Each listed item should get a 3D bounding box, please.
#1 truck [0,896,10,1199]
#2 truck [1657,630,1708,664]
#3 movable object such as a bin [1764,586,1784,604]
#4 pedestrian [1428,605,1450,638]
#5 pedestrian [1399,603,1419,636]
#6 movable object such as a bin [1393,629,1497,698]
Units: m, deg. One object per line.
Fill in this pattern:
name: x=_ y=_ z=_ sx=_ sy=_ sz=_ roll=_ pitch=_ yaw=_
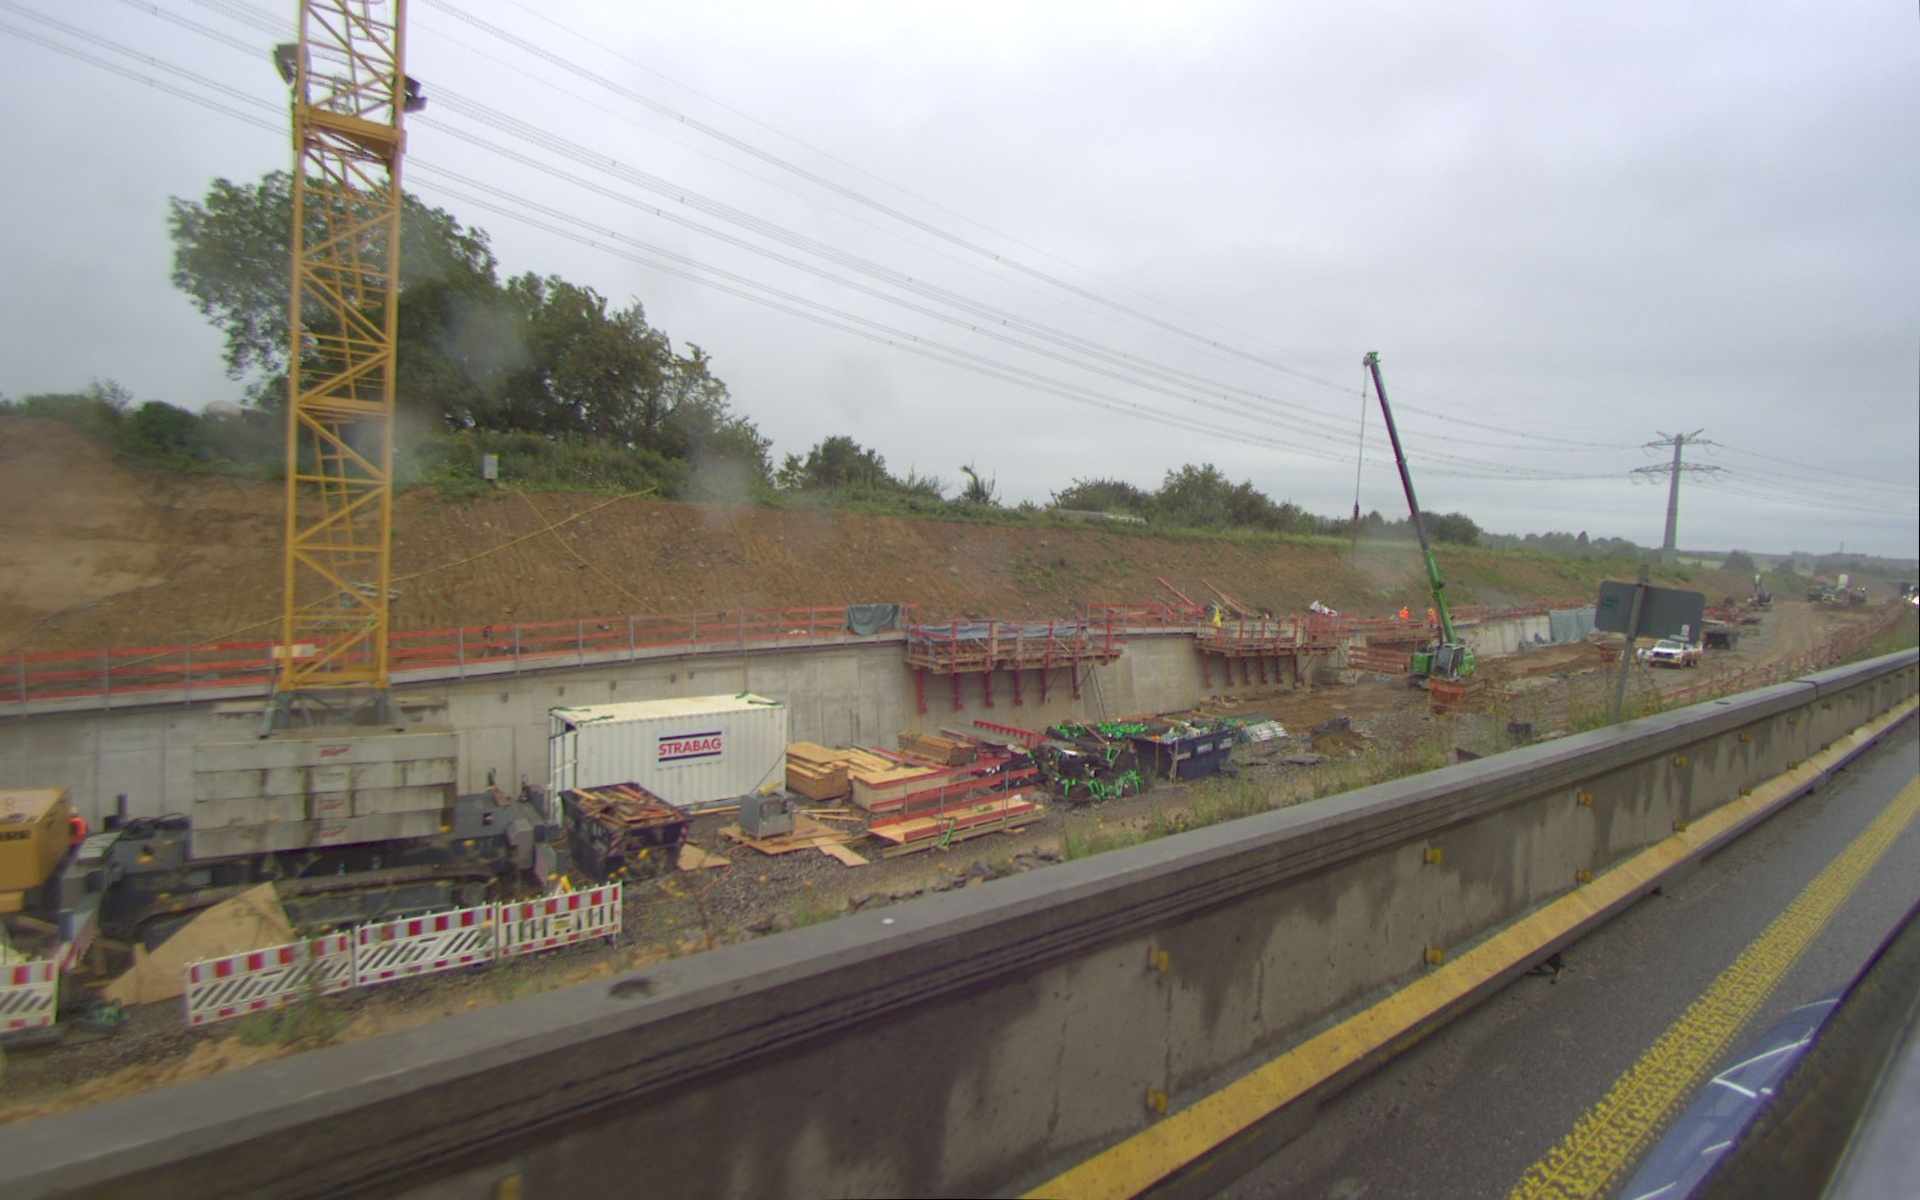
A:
truck: x=-14.025 y=5.312 z=8.261 sx=8.776 sy=3.547 sz=2.709 roll=-1 pitch=1 yaw=-34
truck: x=49.039 y=3.166 z=68.634 sx=5.691 sy=1.894 sz=1.764 roll=-1 pitch=4 yaw=-44
movable object such as a bin: x=130.370 y=-0.858 z=162.023 sx=2.245 sy=2.753 sz=3.939 roll=1 pitch=1 yaw=43
pedestrian: x=34.471 y=1.554 z=72.848 sx=0.988 sy=2.260 sz=0.916 roll=-2 pitch=-3 yaw=-40
pedestrian: x=32.544 y=1.420 z=73.324 sx=0.914 sy=2.275 sz=0.990 roll=-5 pitch=-3 yaw=43
movable object such as a bin: x=26.794 y=3.399 z=55.862 sx=4.781 sy=2.836 sz=3.795 roll=-8 pitch=7 yaw=-44
